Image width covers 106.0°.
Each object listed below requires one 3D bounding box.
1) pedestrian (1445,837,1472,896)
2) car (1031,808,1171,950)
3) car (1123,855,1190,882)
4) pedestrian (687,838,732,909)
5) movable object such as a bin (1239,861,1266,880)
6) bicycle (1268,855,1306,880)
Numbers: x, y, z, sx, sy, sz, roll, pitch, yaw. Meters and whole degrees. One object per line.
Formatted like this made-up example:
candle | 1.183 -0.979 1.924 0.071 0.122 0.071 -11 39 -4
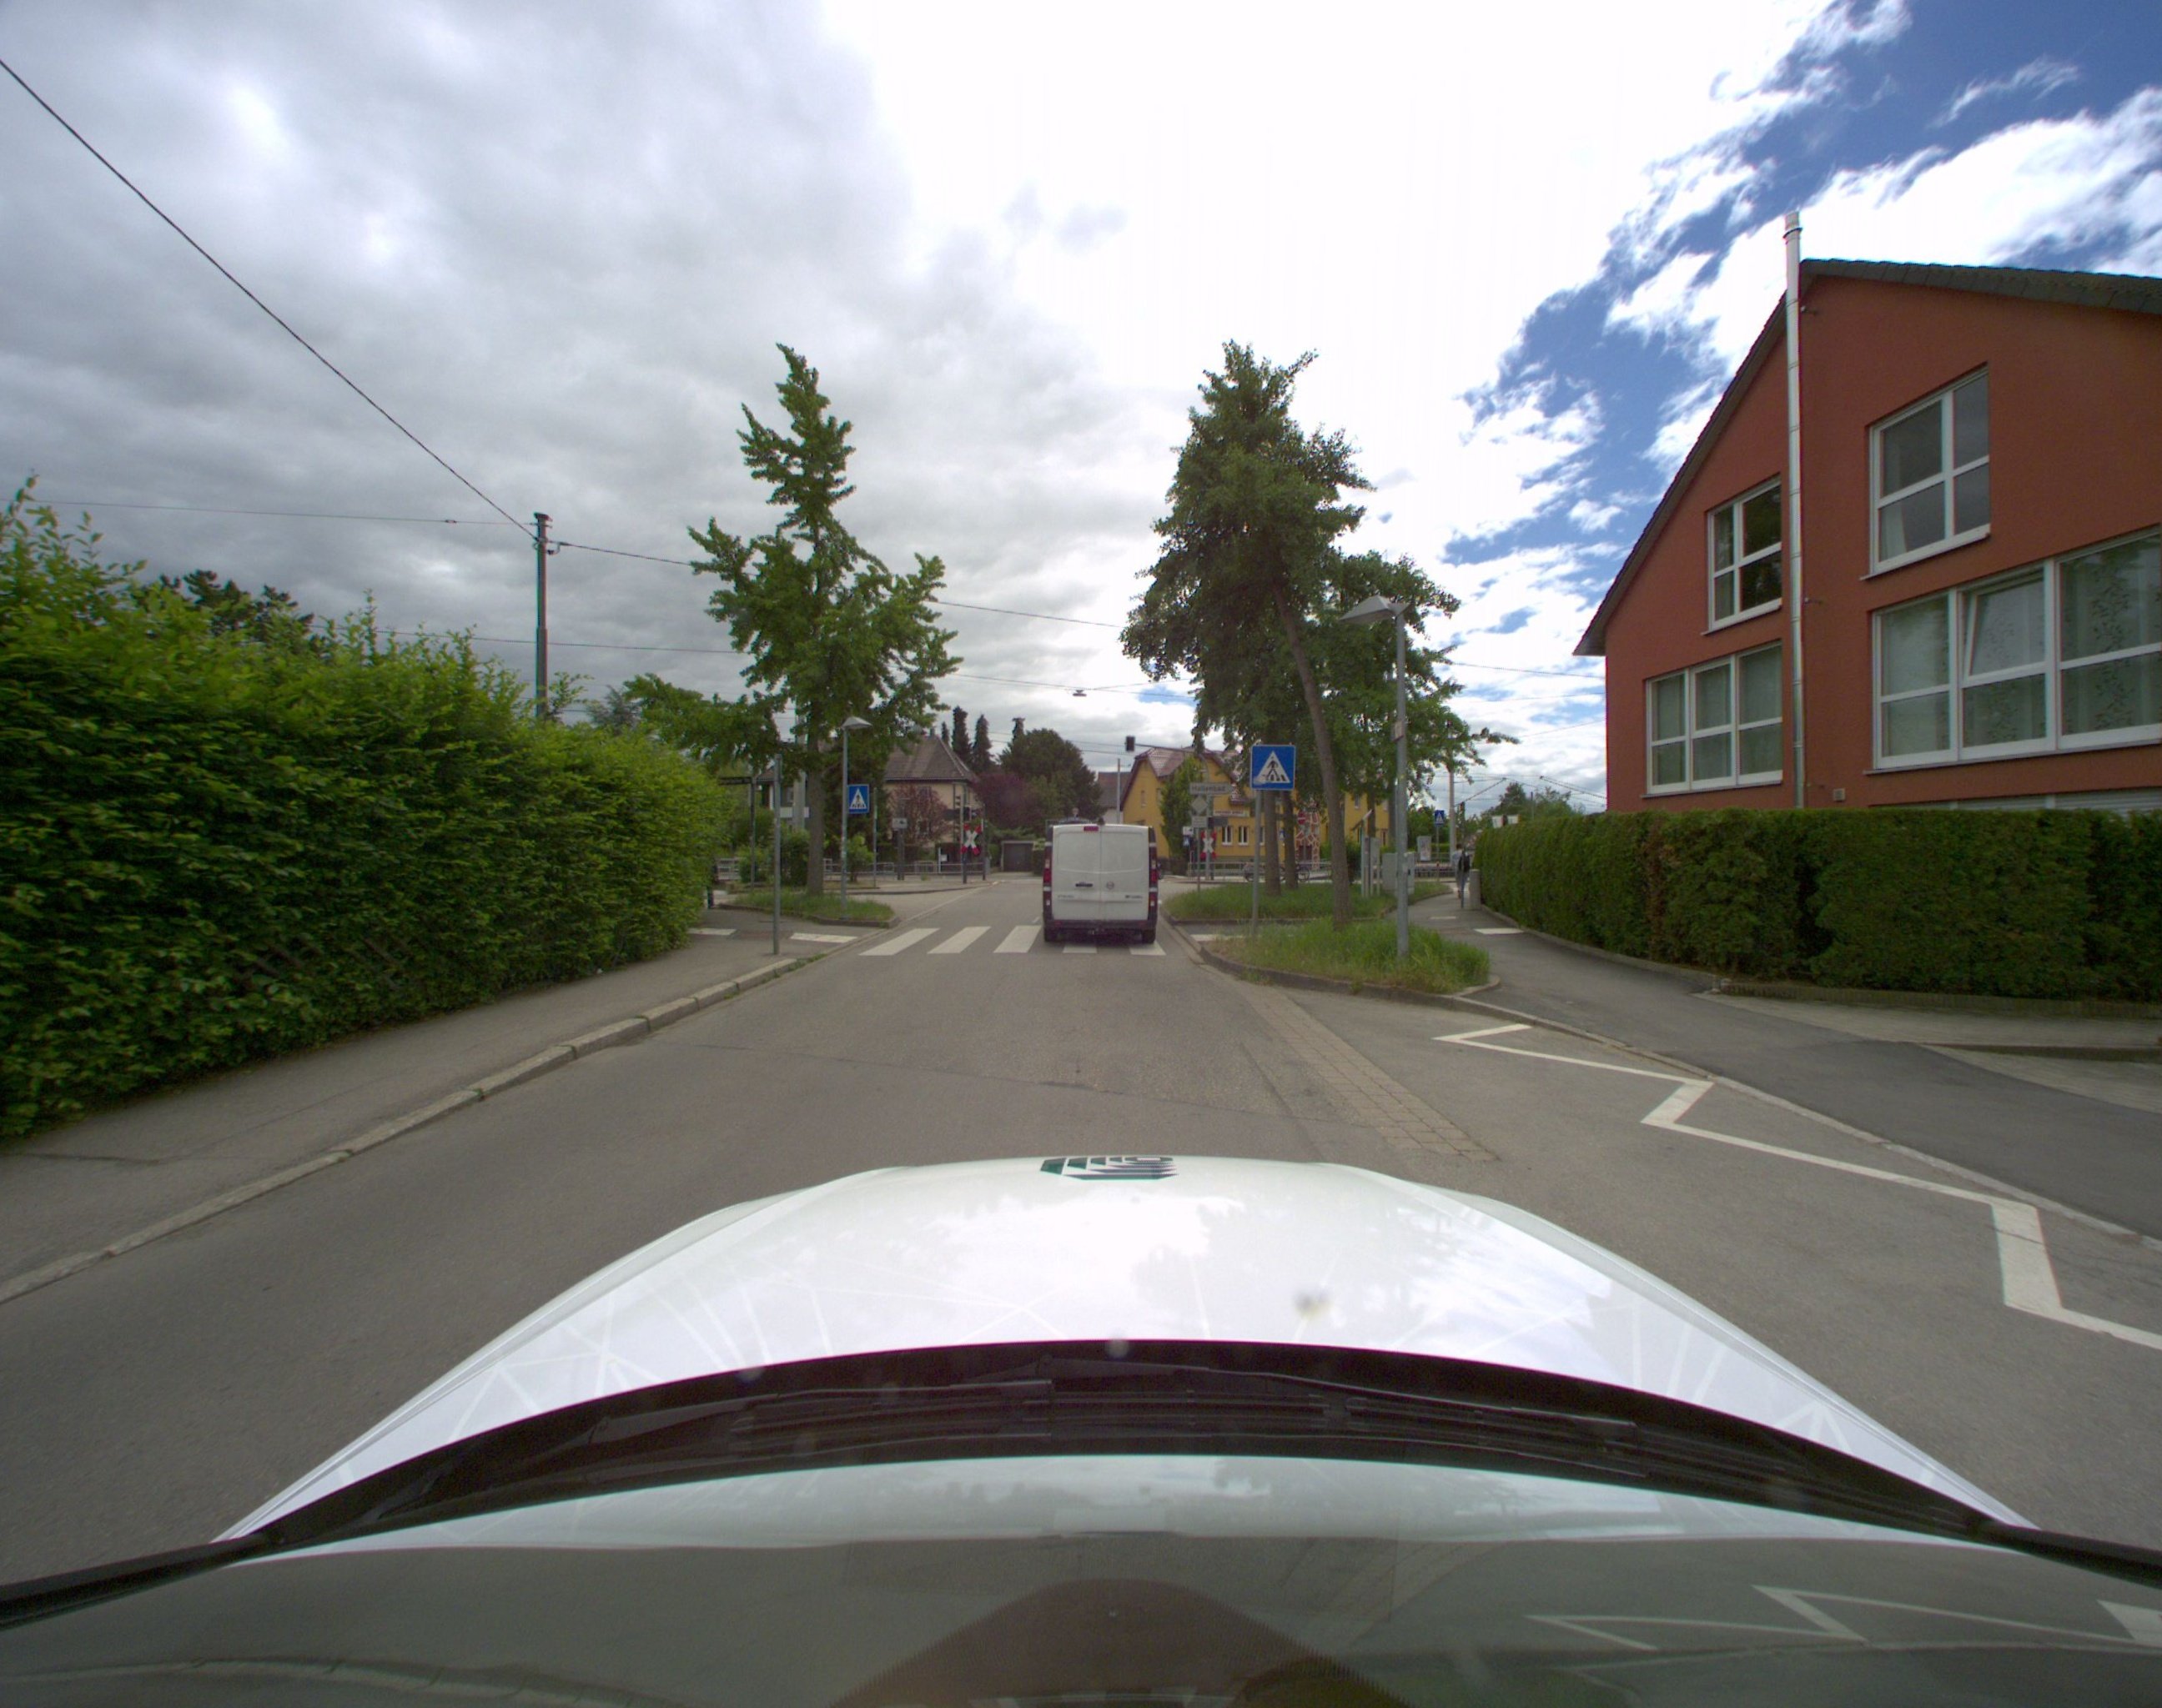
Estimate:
pedestrian | 12.468 0.397 26.884 0.617 1.915 0.836 -1 0 37
car | 0.282 0.379 15.114 2.110 2.134 5.439 1 0 -1
car | 4.830 0.931 51.355 2.333 1.564 4.400 1 0 34
pedestrian | -8.726 0.454 19.159 0.591 1.620 0.682 3 0 32
movable object such as a bin | 7.869 0.755 37.426 1.089 0.824 0.579 0 -1 -4
bicycle | 9.486 0.606 37.509 1.685 1.155 0.465 0 -1 -7
